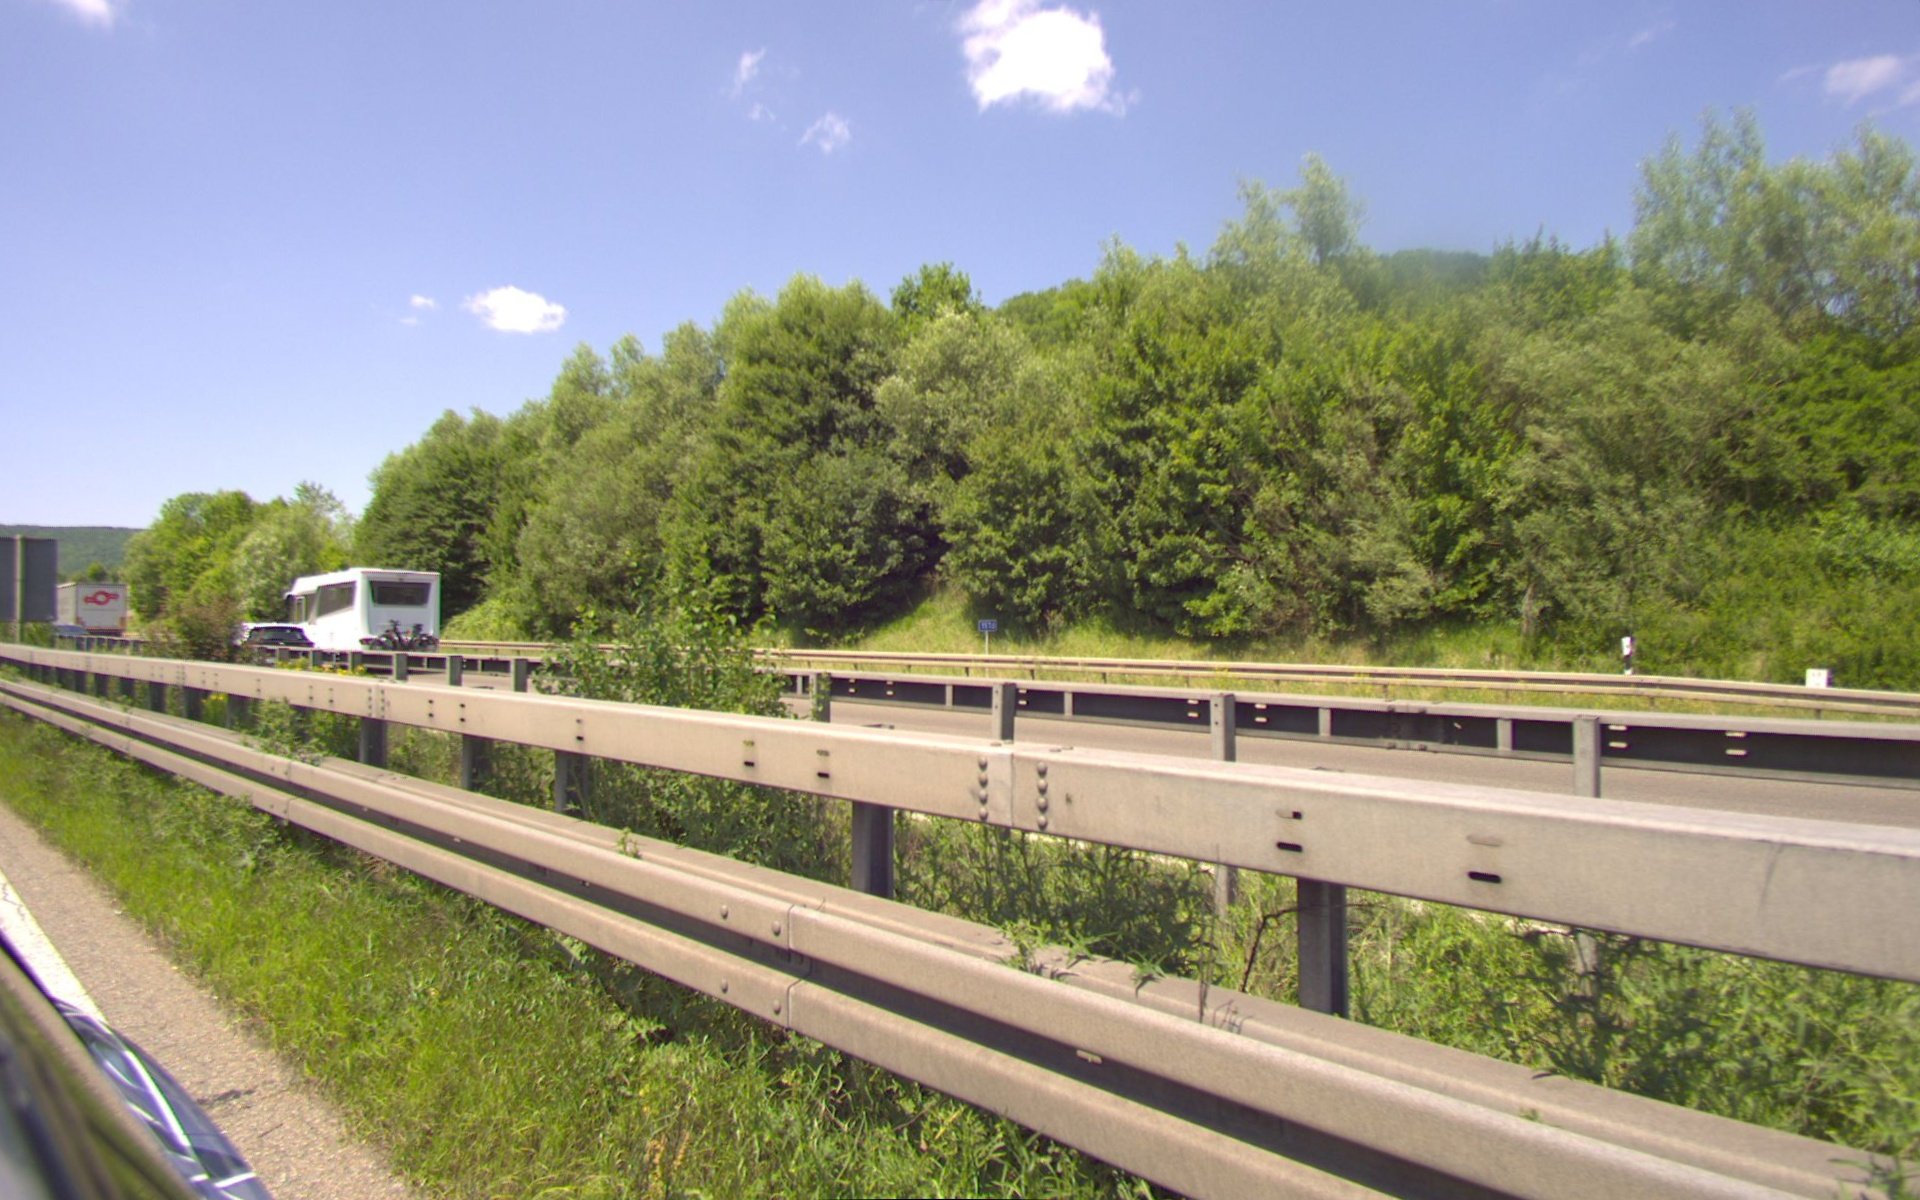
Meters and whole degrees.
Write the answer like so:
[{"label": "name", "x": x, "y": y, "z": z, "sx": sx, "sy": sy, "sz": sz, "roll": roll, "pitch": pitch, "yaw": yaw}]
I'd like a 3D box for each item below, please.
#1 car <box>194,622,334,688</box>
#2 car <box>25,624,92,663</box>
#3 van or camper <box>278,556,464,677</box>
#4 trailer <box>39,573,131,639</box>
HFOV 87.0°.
[{"label": "car", "x": -17.472, "y": 1.311, "z": 25.322, "sx": 4.533, "sy": 1.475, "sz": 1.779, "roll": -1, "pitch": -1, "yaw": 40}, {"label": "car", "x": -40.951, "y": 1.942, "z": 45.950, "sx": 4.489, "sy": 1.664, "sz": 1.756, "roll": -1, "pitch": -1, "yaw": 42}, {"label": "van or camper", "x": -18.431, "y": 0.545, "z": 31.434, "sx": 7.642, "sy": 3.361, "sz": 2.564, "roll": -1, "pitch": -2, "yaw": 40}, {"label": "trailer", "x": -58.191, "y": 0.500, "z": 67.088, "sx": 14.153, "sy": 4.030, "sz": 2.753, "roll": -1, "pitch": -1, "yaw": 42}]
